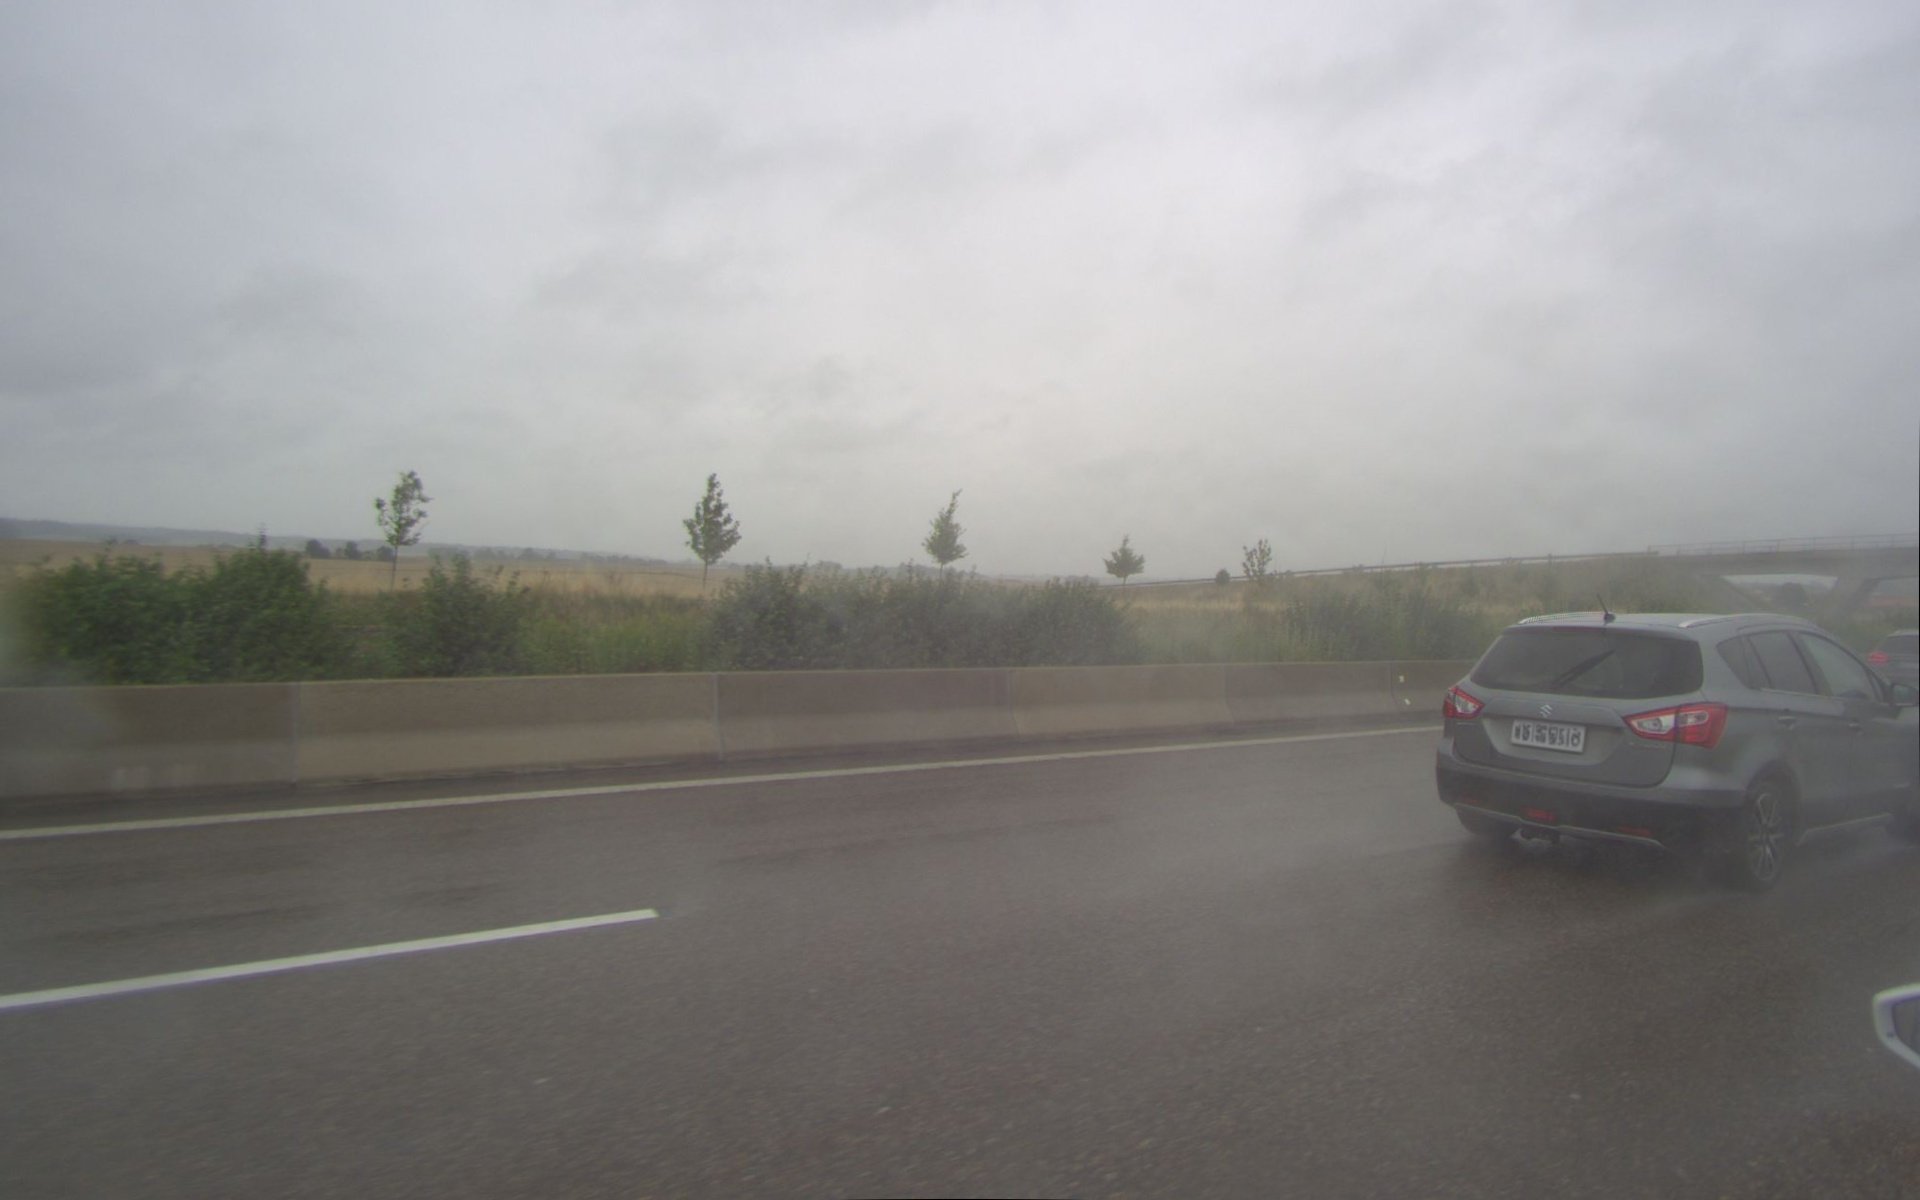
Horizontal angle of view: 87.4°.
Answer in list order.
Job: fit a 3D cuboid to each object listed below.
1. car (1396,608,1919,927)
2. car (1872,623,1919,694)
[{"bbox_3d":[5.290,0.873,6.955,4.704,1.533,1.836,1,0,-32],"label":"car"},{"bbox_3d":[20.563,1.204,20.602,3.953,1.372,1.605,1,0,-30],"label":"car"}]
